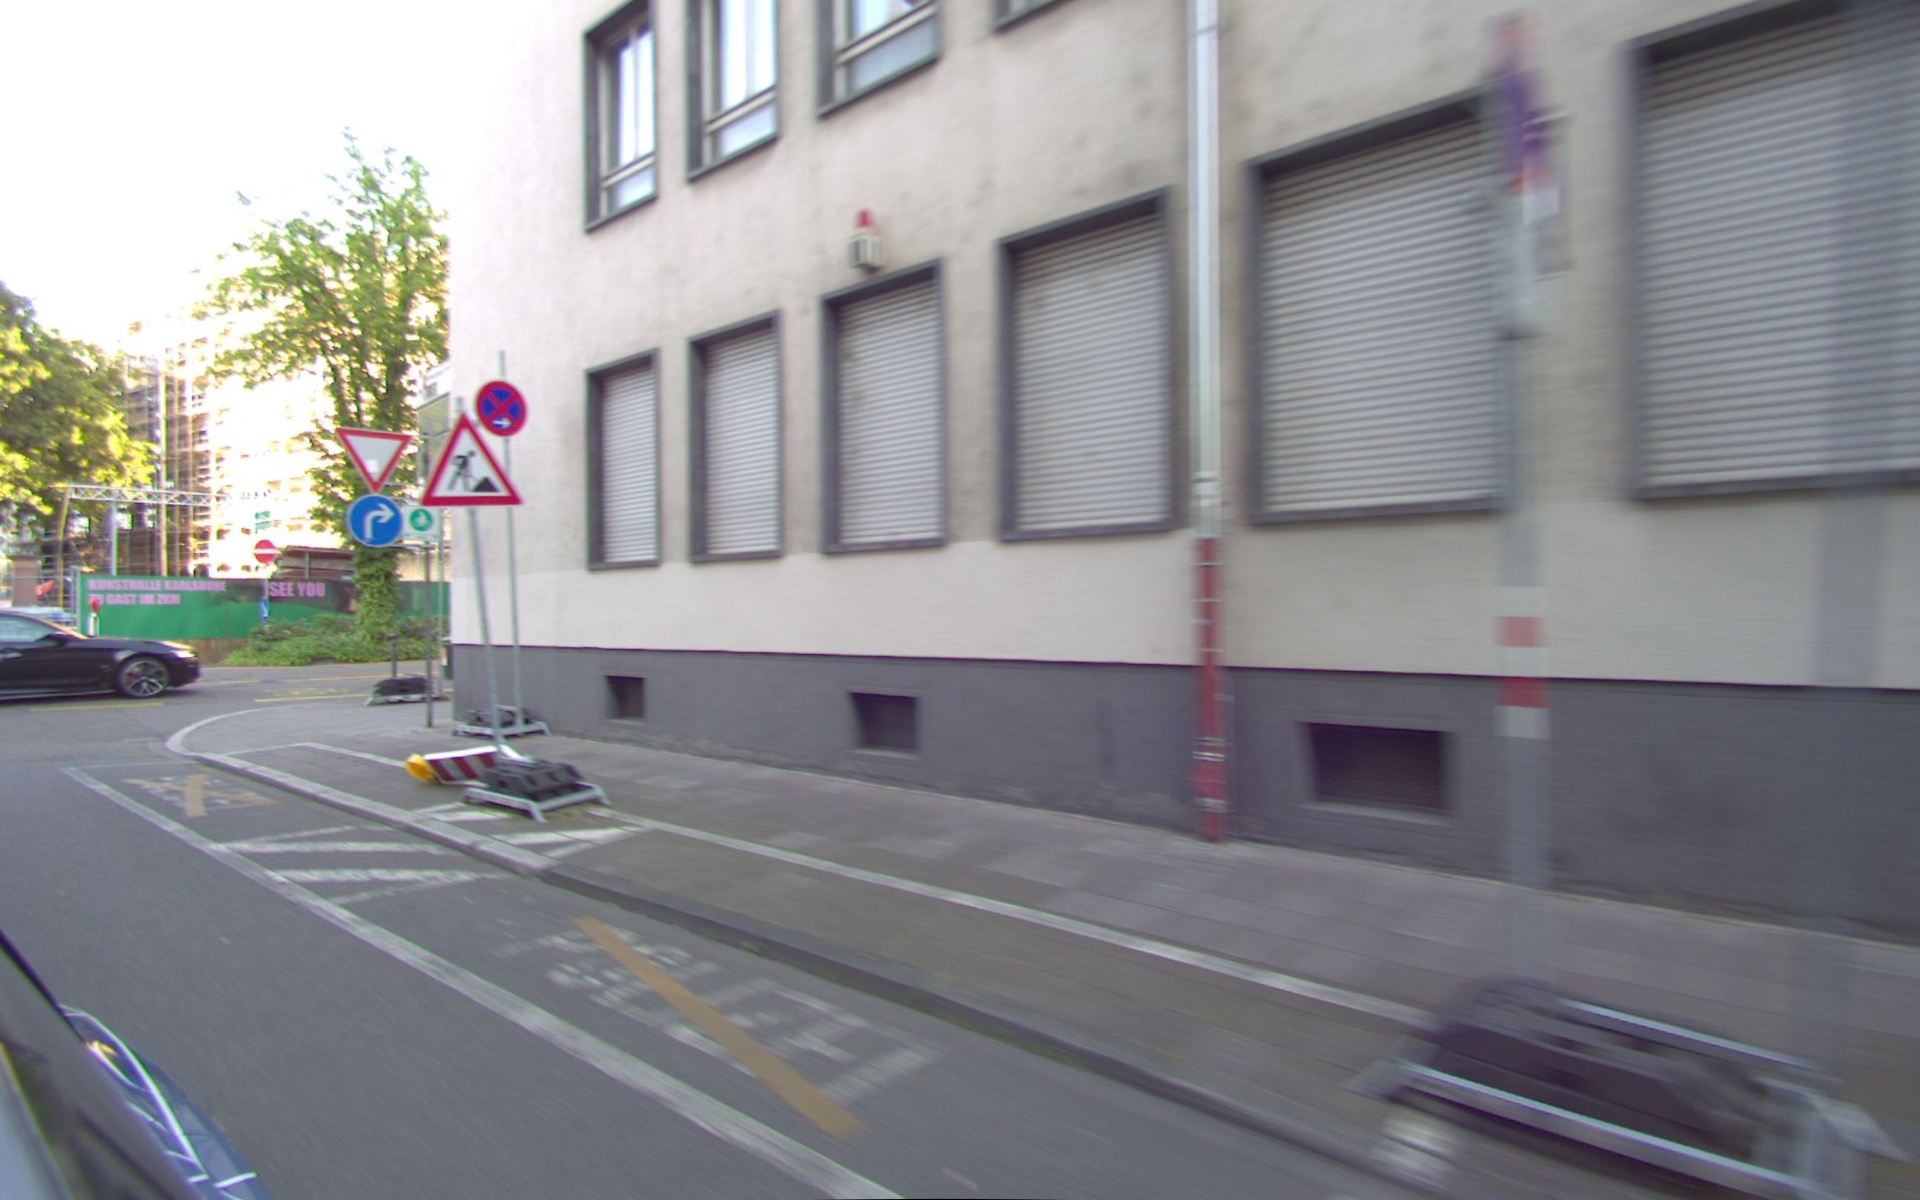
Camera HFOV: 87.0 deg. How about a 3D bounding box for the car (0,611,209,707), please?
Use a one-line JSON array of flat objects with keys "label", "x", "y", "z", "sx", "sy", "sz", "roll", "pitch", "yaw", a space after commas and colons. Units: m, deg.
[{"label": "car", "x": -14.756, "y": 0.883, "z": 15.624, "sx": 1.998, "sy": 1.394, "sz": 4.768, "roll": -1, "pitch": -1, "yaw": 39}]
